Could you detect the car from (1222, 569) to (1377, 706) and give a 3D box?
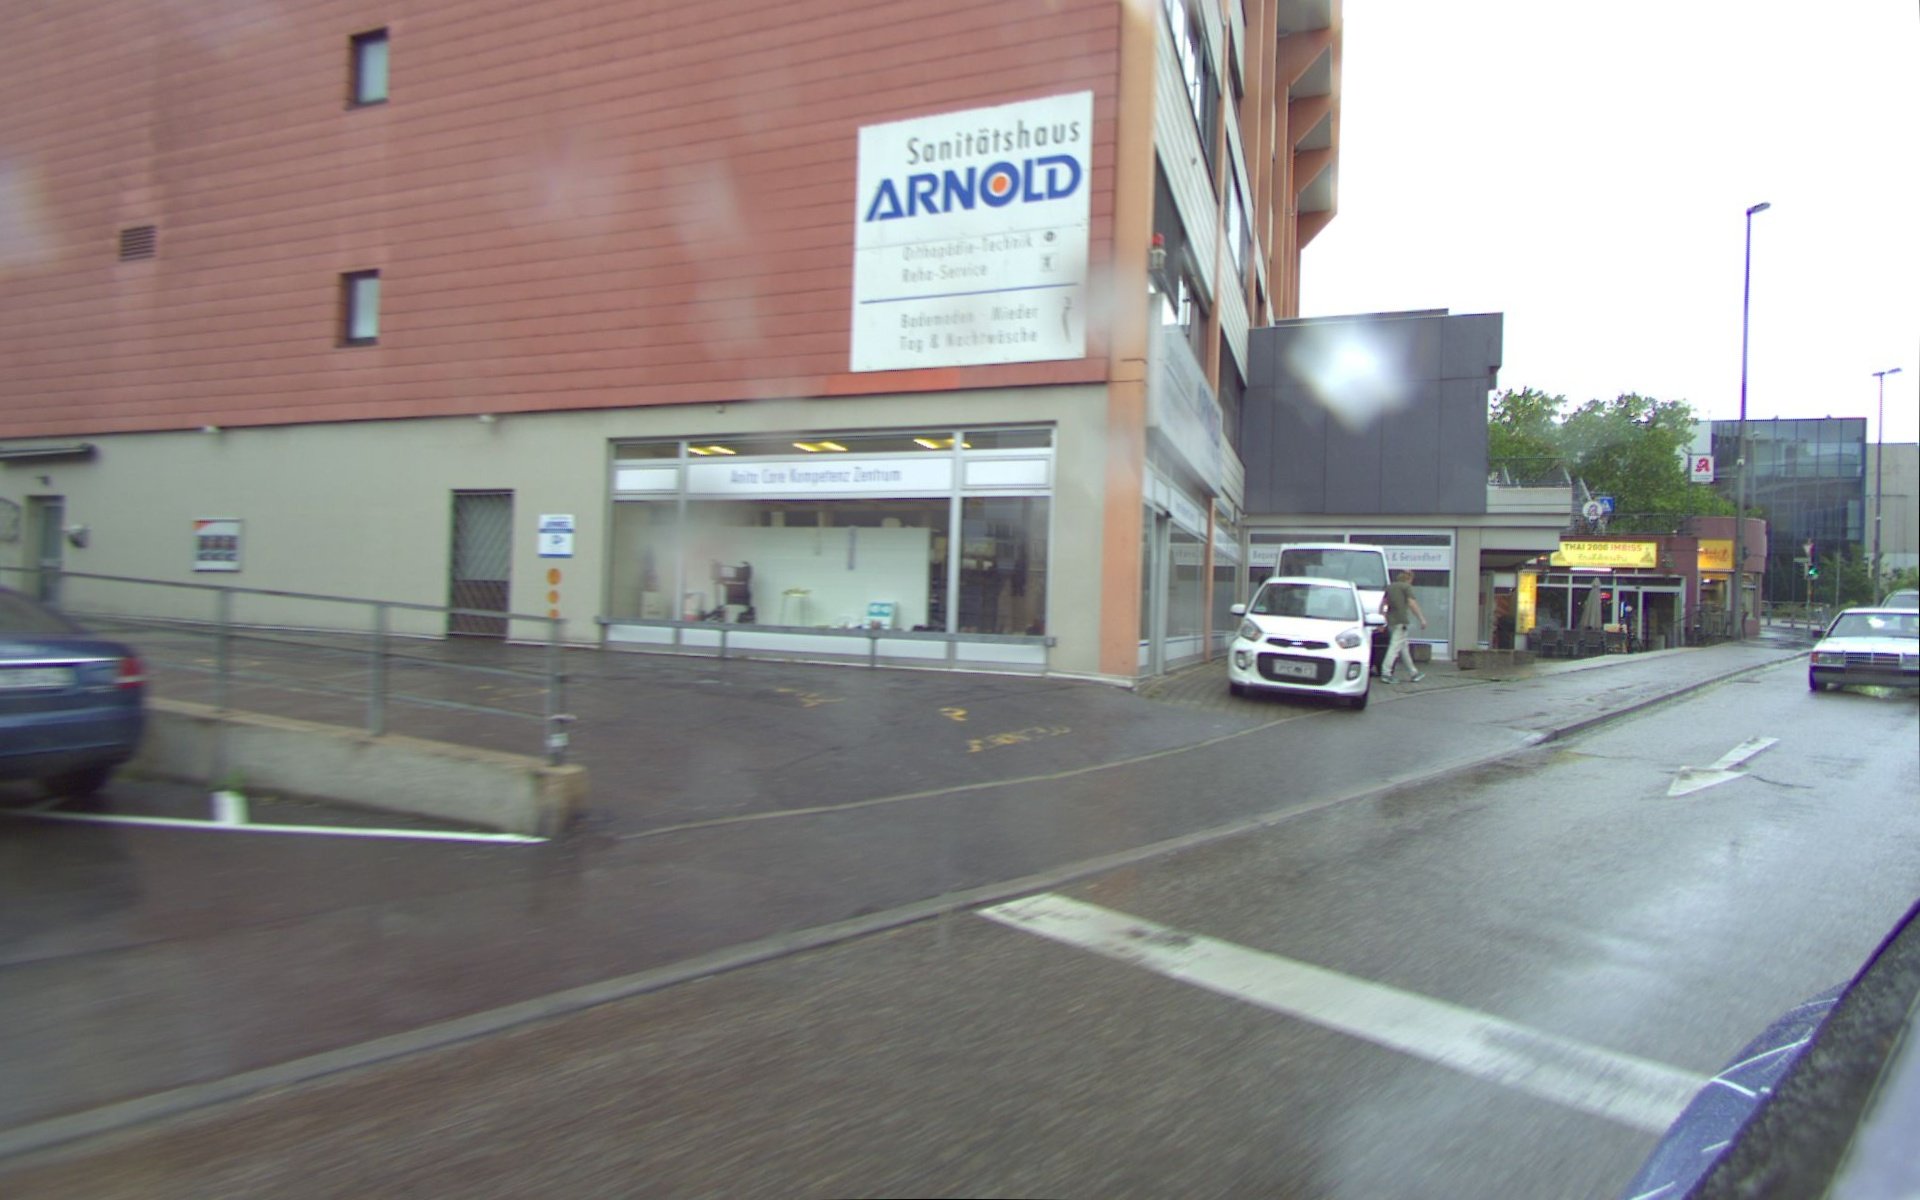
[{"bbox_3d":[4.406,0.356,12.846,1.598,1.480,3.398,1,2,23],"label":"car"}]

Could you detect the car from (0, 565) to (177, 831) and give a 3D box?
[{"bbox_3d":[-7.203,0.467,6.266,4.347,1.429,1.724,2,1,21],"label":"car"}]

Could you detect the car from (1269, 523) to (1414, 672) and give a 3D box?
[{"bbox_3d":[6.702,0.009,18.281,1.980,2.237,4.848,3,-1,17],"label":"car"}]

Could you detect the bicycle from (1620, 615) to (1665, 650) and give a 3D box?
[{"bbox_3d":[20.878,0.993,30.997,0.523,0.949,1.572,3,2,11],"label":"bicycle"}]

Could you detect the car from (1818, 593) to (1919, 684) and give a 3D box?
[{"bbox_3d":[15.917,0.585,16.983,3.924,1.324,1.661,-1,2,-40],"label":"car"}]

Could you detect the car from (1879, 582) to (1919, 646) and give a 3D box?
[{"bbox_3d":[27.147,0.346,27.987,4.402,1.668,2.057,-1,2,-41],"label":"car"}]

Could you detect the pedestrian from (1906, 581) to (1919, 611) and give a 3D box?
[{"bbox_3d":[45.350,-0.199,47.832,0.756,1.396,0.689,0,4,-32],"label":"pedestrian"}]

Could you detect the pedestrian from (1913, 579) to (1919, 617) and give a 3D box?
[{"bbox_3d":[46.249,-0.080,48.406,0.781,1.825,0.689,0,4,-32],"label":"pedestrian"}]

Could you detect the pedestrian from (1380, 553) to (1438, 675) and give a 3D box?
[{"bbox_3d":[6.731,0.199,15.175,0.590,1.789,0.593,2,0,-44],"label":"pedestrian"}]
